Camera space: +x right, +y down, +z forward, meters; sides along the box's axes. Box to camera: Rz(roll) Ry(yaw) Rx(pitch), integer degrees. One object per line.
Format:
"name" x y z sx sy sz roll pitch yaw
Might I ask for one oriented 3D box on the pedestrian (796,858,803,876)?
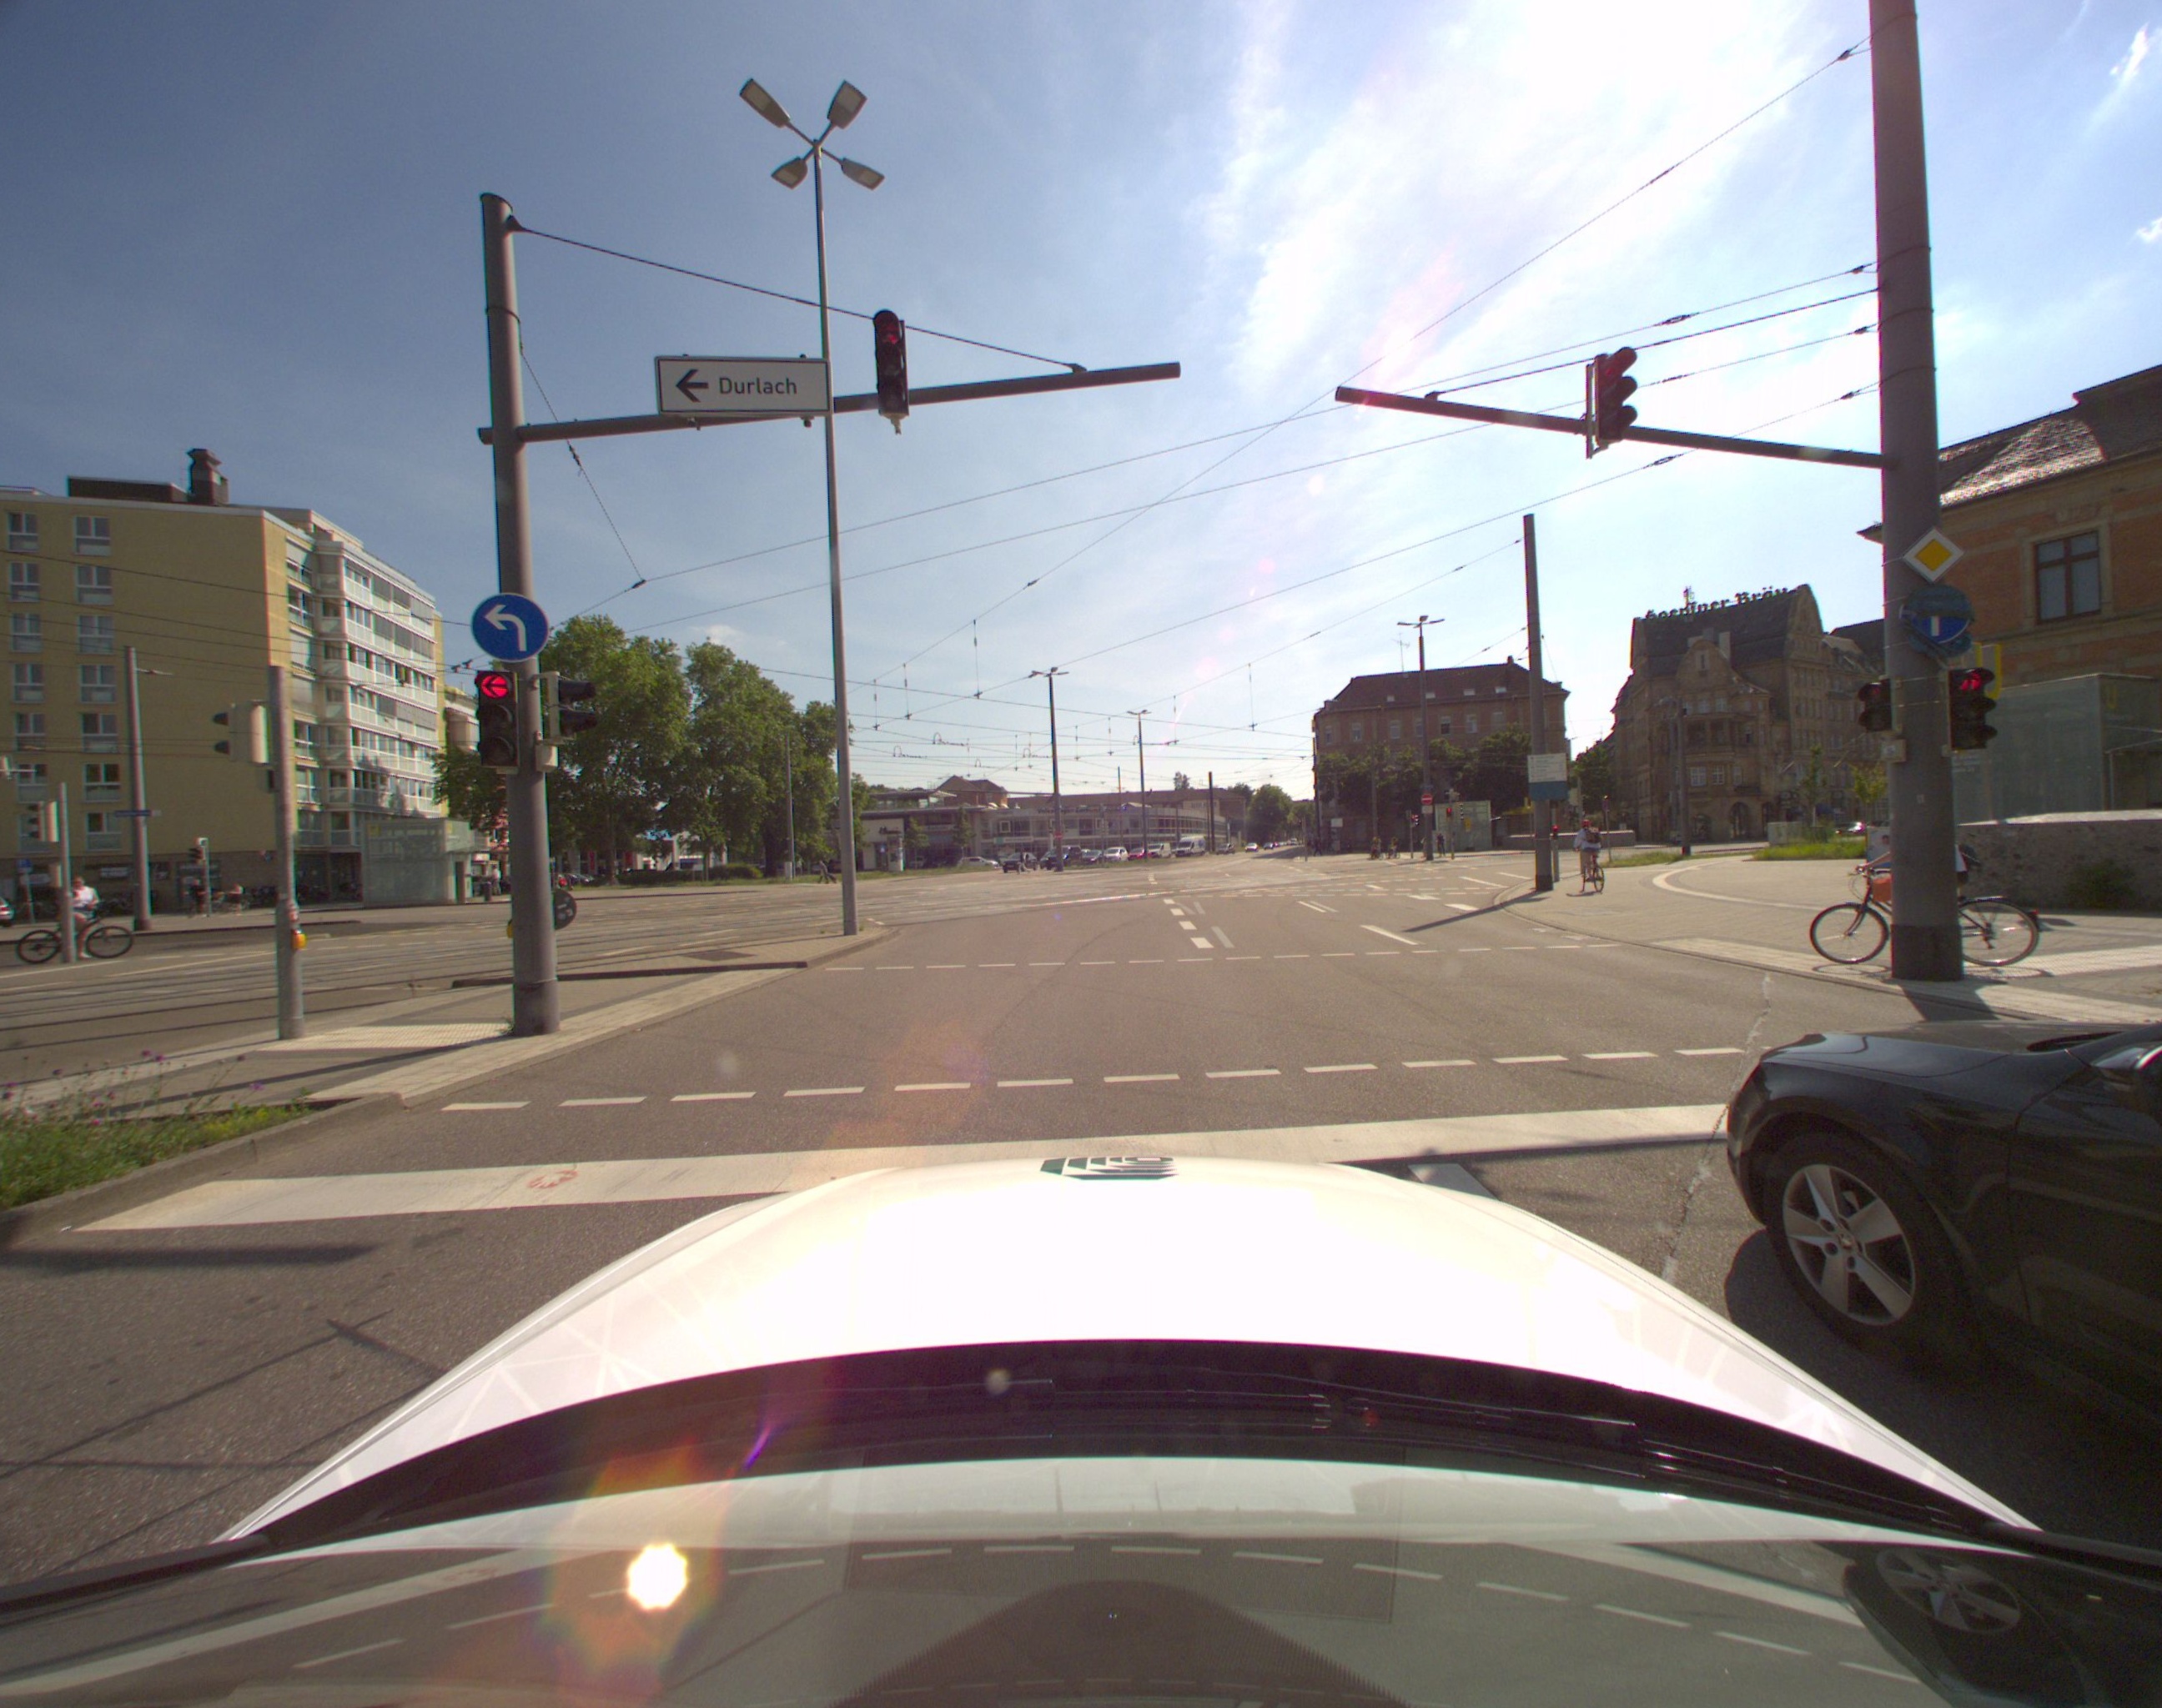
"pedestrian" -25.051 1.174 72.511 0.388 1.596 0.467 -1 -1 25

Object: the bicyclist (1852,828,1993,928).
"bicyclist" 9.321 0.265 9.065 0.904 1.029 0.721 -5 -1 35

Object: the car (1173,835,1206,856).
"car" 13.561 -1.026 101.371 2.188 2.575 5.910 -1 -1 28

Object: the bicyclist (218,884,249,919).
"bicyclist" -39.371 2.198 37.833 0.728 1.572 0.613 -3 -1 2

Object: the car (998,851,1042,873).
"car" -4.756 0.651 64.262 1.876 1.588 4.230 -3 -1 19

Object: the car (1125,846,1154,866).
"car" 6.144 0.216 85.370 1.879 1.917 4.220 -3 -1 19

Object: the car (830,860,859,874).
"car" -29.625 1.622 102.126 1.983 1.684 4.008 0 -1 7

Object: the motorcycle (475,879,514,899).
"motorcycle" -35.743 2.131 49.652 2.019 1.062 0.642 -2 0 9

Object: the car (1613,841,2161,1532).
"car" 3.043 0.673 1.036 1.625 1.435 4.779 -1 -1 0

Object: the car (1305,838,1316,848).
"car" 46.443 -2.224 164.726 2.092 2.013 4.017 -2 0 16

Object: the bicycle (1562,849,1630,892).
"bicycle" 13.360 0.397 21.188 0.710 1.015 2.026 -5 0 10

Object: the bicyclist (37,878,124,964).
"bicyclist" -20.917 1.383 17.045 0.774 1.684 0.749 -4 0 -9

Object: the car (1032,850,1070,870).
"car" -2.571 0.519 71.026 1.879 1.588 4.019 -3 -1 19

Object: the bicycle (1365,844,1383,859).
"bicycle" 21.981 -0.198 61.101 0.920 1.069 2.755 -1 -1 12

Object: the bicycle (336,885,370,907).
"bicycle" -44.386 2.552 49.679 0.581 1.219 1.754 -3 1 -5

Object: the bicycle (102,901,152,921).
"bicycle" -52.062 3.119 44.449 1.750 0.916 0.582 -3 1 -8

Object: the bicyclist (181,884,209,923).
"bicyclist" -40.784 2.267 37.495 0.584 1.735 0.613 -3 -1 -22

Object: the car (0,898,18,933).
"car" -49.267 2.840 36.503 3.948 1.440 1.825 -5 -2 35

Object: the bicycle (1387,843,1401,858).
"bicycle" 23.415 -0.283 60.913 0.918 1.069 2.856 -1 1 21

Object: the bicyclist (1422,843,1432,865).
"bicyclist" 26.136 0.018 61.525 0.497 1.621 0.651 0 0 7

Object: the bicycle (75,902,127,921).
"bicycle" -53.560 3.130 44.521 1.754 0.916 0.581 -3 1 -15

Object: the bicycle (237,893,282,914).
"bicycle" -46.808 2.801 46.393 1.750 1.043 0.582 -3 1 -9

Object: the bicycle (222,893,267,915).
"bicycle" -46.956 2.809 45.731 1.747 1.085 0.583 -3 3 -4

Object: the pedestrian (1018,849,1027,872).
"pedestrian" -4.020 0.449 55.823 0.456 1.605 0.396 0 -1 -34

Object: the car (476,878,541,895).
"car" -47.303 2.652 67.384 3.994 1.270 1.735 0 -1 -15

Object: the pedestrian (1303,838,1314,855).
"pedestrian" 19.819 -0.625 70.871 0.616 1.433 0.705 0 -1 -36

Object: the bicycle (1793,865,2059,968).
"bicycle" 9.296 0.701 9.093 1.894 1.015 0.721 -5 -1 35

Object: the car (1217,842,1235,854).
"car" 20.946 -0.796 117.549 1.371 1.656 3.782 -1 -1 30

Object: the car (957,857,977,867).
"car" -14.094 0.955 100.501 1.824 1.195 4.000 0 0 1

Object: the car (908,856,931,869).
"car" -20.027 1.085 101.061 1.987 1.486 4.000 -2 0 0

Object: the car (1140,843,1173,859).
"car" 8.589 -0.370 92.410 2.165 1.680 5.058 -3 0 24

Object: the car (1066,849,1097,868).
"car" 0.085 0.443 78.290 1.638 1.739 4.220 -3 -1 19

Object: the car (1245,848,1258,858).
"car" 27.843 -0.146 132.772 1.371 1.625 3.360 0 1 26

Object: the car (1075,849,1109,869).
"car" 0.997 0.455 71.292 1.880 1.588 4.017 -3 -1 16

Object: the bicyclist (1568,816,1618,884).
"bicyclist" 13.312 -0.108 21.184 0.710 1.669 0.877 -5 -1 10

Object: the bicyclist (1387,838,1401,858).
"bicyclist" 23.434 -0.479 60.974 0.918 1.451 1.258 -1 1 21

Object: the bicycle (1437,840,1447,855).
"bicycle" 26.911 -0.474 60.652 0.661 1.069 2.478 -1 1 24

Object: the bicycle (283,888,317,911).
"bicycle" -46.284 2.687 48.302 0.540 1.186 1.881 -2 0 -13

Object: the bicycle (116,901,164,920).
"bicycle" -51.984 3.123 45.012 1.750 0.916 0.582 -3 1 -8

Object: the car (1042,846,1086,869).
"car" -1.288 0.253 64.793 1.945 1.587 4.739 -2 0 19

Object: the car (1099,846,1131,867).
"car" 3.281 0.276 78.536 1.879 1.917 4.220 -3 -1 19

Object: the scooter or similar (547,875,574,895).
"scooter or similar" -32.094 1.914 50.212 1.351 1.119 0.519 -2 0 11

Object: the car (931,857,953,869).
"car" -17.255 1.101 100.966 1.987 1.486 4.000 0 0 0

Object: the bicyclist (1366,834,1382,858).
"bicyclist" 21.999 -0.582 61.185 0.920 1.820 1.056 -1 -1 11

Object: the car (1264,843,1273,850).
"car" 38.846 -1.501 168.363 1.372 1.414 3.028 -1 -1 21

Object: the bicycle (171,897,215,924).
"bicycle" -40.930 2.578 37.565 0.584 1.130 1.784 -3 -1 -21

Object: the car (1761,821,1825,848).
"car" 39.136 -1.060 44.759 3.464 1.313 1.655 -3 0 -32

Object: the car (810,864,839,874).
"car" -31.986 1.856 101.786 1.983 1.244 4.008 0 0 7

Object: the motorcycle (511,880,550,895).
"motorcycle" -36.860 2.231 54.563 0.632 0.842 2.051 -2 0 35

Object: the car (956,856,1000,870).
"car" -11.182 0.981 88.451 4.551 1.436 1.450 -1 -1 15

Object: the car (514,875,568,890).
"car" -49.701 2.618 74.984 3.729 1.340 1.735 0 -1 -15

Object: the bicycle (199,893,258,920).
"bicycle" -39.393 2.412 37.647 0.749 1.130 1.798 -2 0 3

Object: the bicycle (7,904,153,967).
"bicycle" -20.916 1.694 17.051 1.843 1.083 0.749 -4 0 -9

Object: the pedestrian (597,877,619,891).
"pedestrian" -33.161 2.130 57.100 1.175 0.892 0.818 -2 0 -18

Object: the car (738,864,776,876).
"car" -40.970 2.025 102.949 3.973 1.371 2.000 0 0 1

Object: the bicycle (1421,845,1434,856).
"bicycle" 26.131 -0.262 61.436 0.497 0.866 1.590 0 0 7

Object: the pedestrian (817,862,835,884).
"pedestrian" -16.925 1.252 54.025 1.117 1.404 0.652 0 -1 -20

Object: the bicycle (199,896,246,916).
"bicycle" -48.413 2.916 45.934 1.751 0.965 0.582 -3 1 -11

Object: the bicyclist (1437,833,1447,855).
"bicyclist" 26.949 -0.760 60.749 0.661 1.624 0.787 -1 0 24

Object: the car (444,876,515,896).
"car" -46.432 2.440 62.959 3.994 1.440 1.881 0 -1 -15
